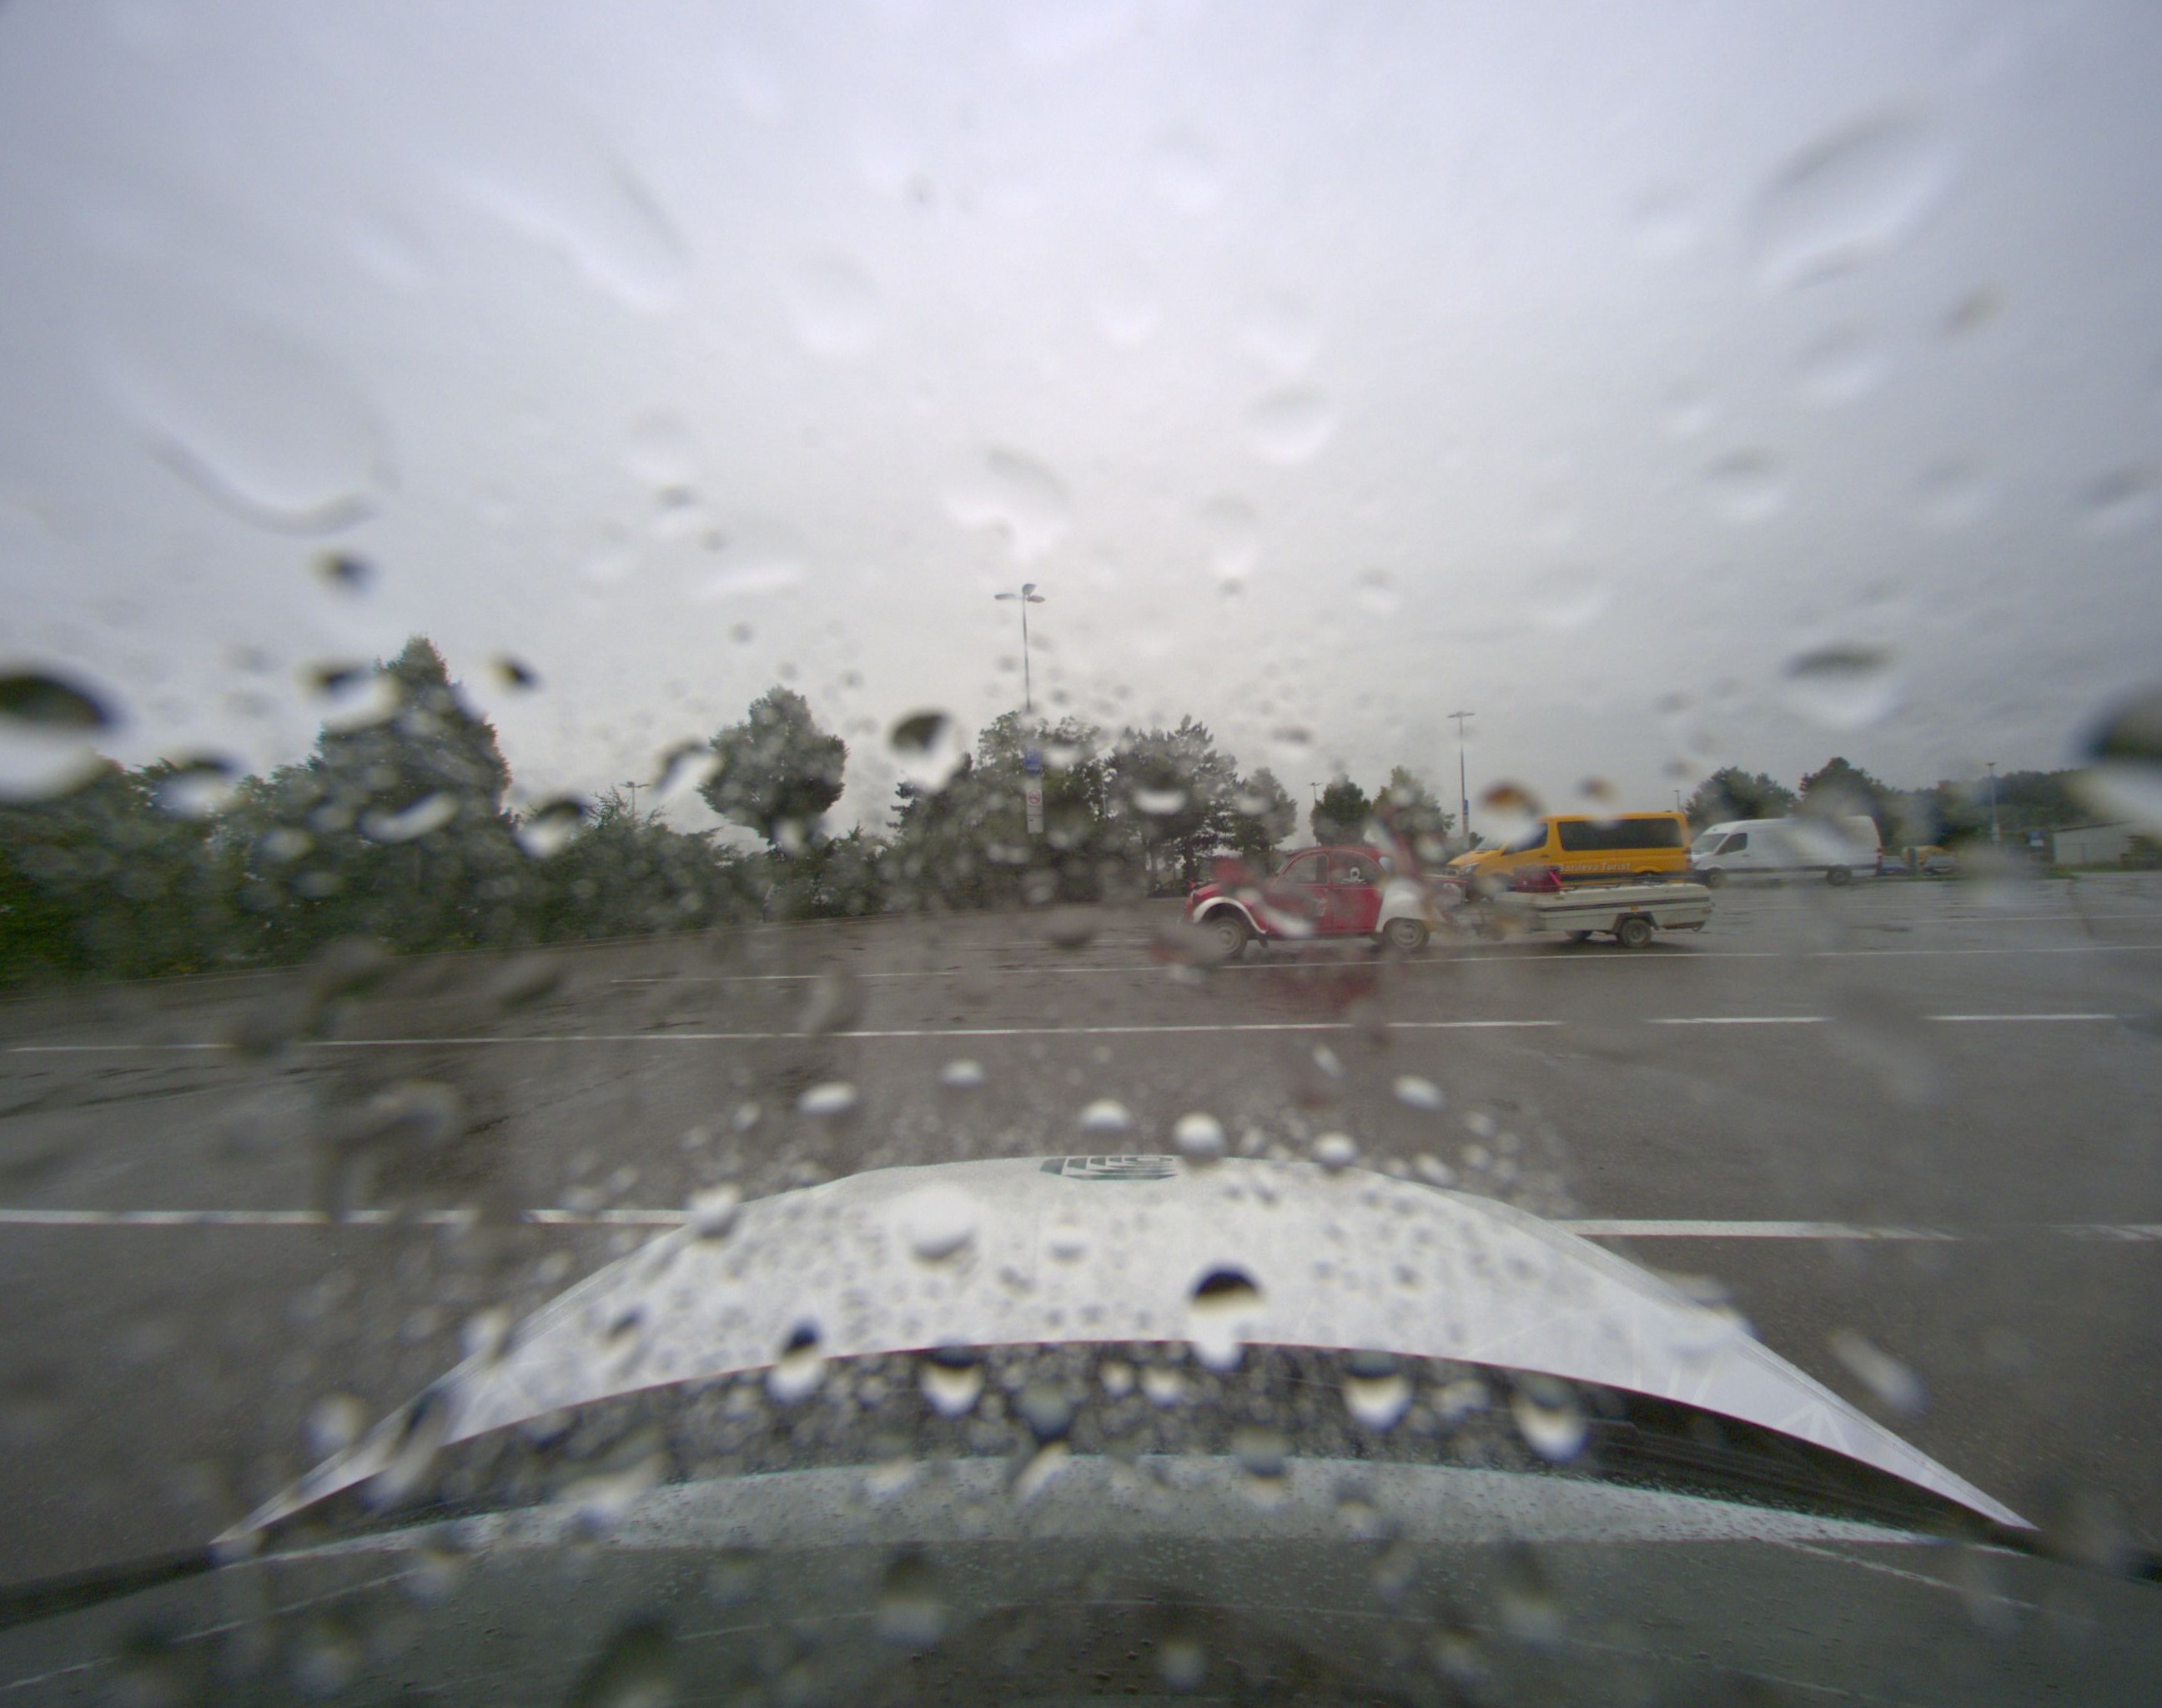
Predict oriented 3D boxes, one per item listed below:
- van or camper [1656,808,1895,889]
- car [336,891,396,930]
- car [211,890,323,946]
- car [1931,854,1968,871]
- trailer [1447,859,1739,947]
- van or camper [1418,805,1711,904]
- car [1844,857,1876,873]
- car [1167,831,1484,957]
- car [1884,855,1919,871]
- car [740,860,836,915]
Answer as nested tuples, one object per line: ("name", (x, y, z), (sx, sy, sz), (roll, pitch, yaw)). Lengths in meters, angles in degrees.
("van or camper", (26.326, -0.203, 31.089), (7.008, 2.715, 2.004), (-2, 1, 6))
("car", (-35.529, 2.768, 40.557), (1.808, 1.693, 4.003), (-3, -1, -36))
("car", (-25.731, 1.959, 25.912), (1.895, 1.472, 4.713), (-3, -1, -38))
("car", (60.852, 0.579, 57.094), (3.789, 1.000, 1.688), (-2, 0, -44))
("trailer", (6.857, 0.649, 11.206), (3.002, 1.067, 1.593), (-2, -1, 9))
("van or camper", (12.638, 0.023, 21.716), (6.363, 2.246, 2.139), (-2, 0, 6))
("car", (56.821, 0.783, 59.383), (3.590, 1.000, 1.481), (-2, 0, -44))
("car", (3.338, 0.554, 11.642), (4.019, 1.555, 1.554), (-2, 0, 9))
("car", (59.292, 0.669, 58.811), (3.789, 1.000, 1.688), (-2, 0, -44))
("car", (-9.870, 1.114, 27.233), (1.795, 1.628, 4.047), (-3, -1, -38))
